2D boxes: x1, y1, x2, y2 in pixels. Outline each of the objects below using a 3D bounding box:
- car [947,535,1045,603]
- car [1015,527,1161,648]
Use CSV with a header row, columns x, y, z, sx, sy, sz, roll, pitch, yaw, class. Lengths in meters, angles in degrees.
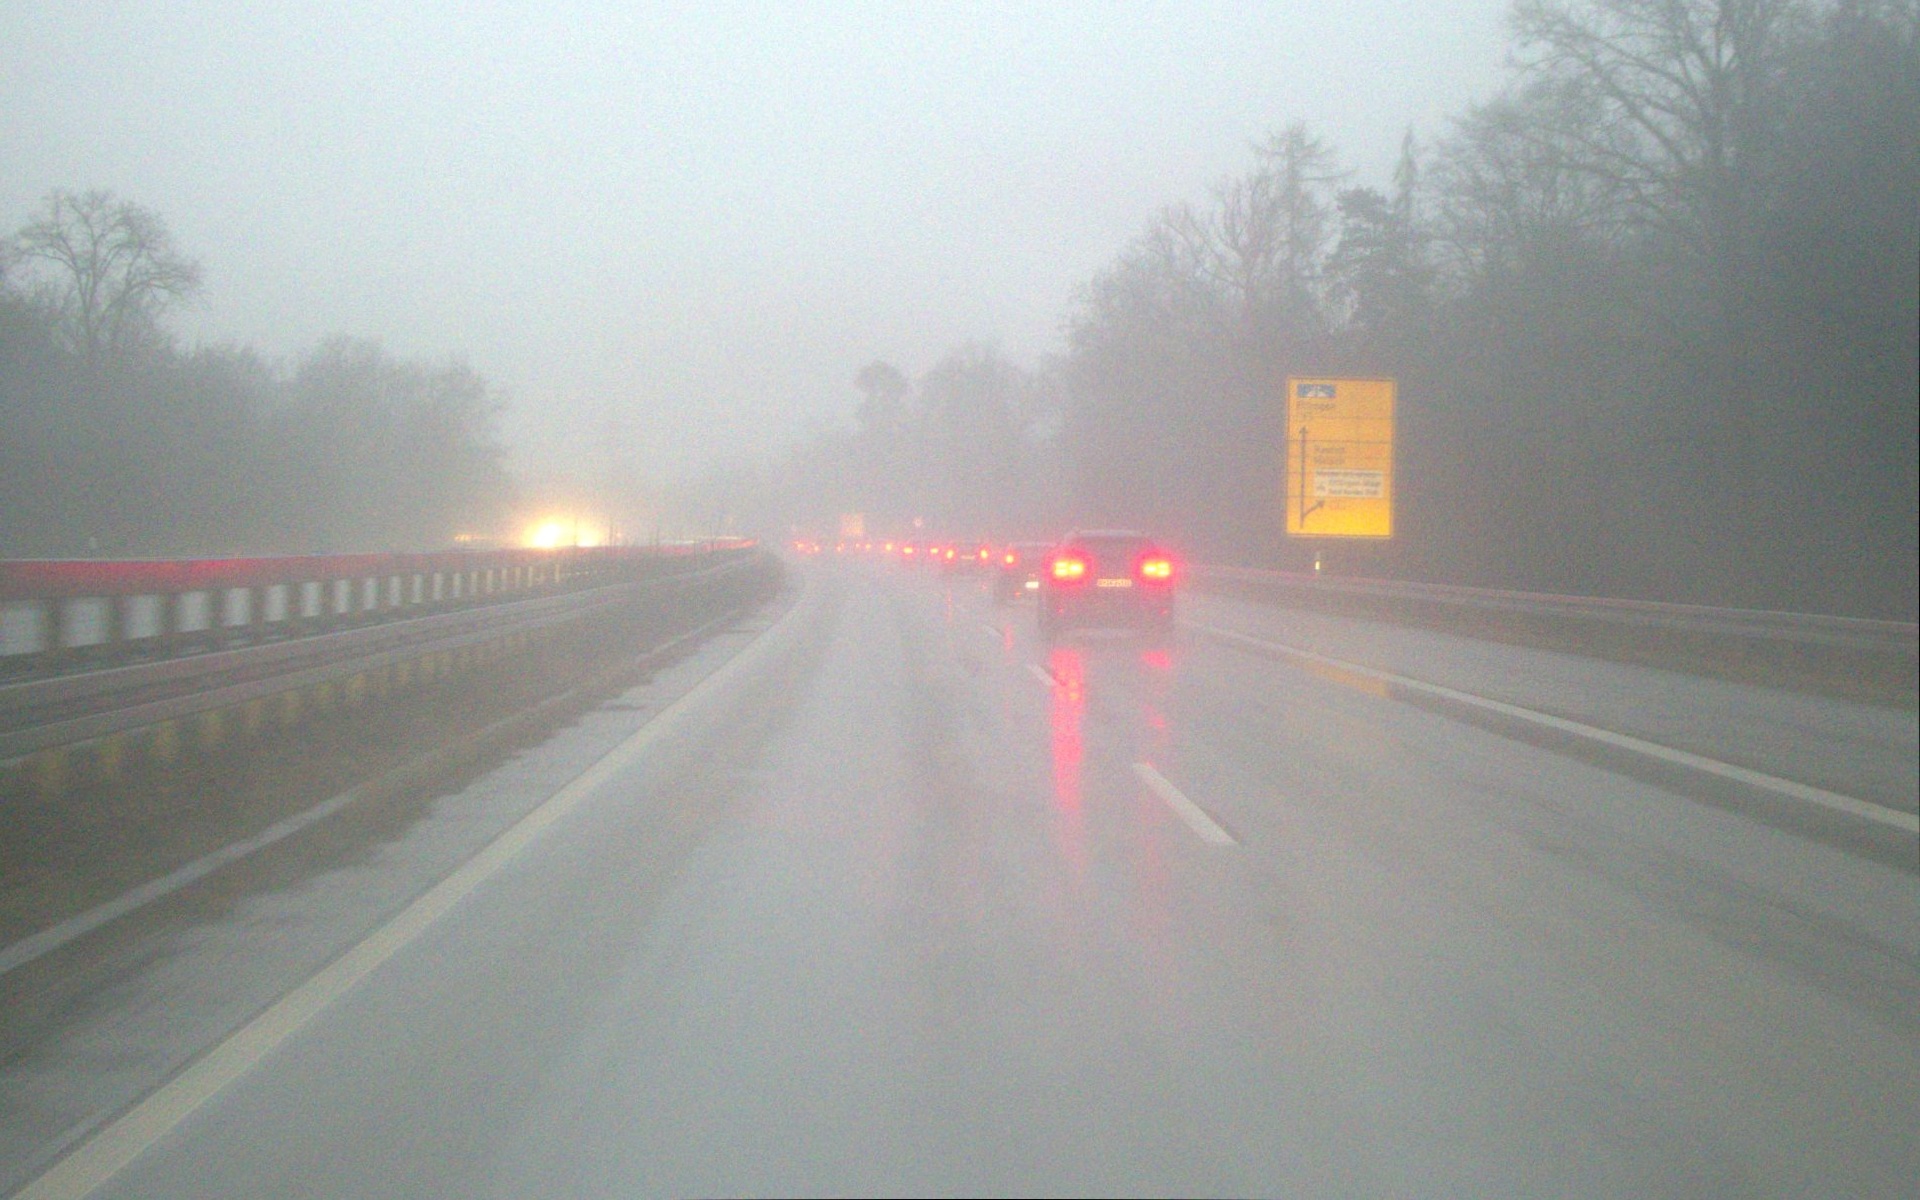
x,y,z,sx,sy,sz,roll,pitch,yaw,class
0.784,-0.691,77.559,1.993,1.415,4.000,2,0,-2,car
1.859,-0.202,50.974,1.992,1.709,3.830,1,1,0,car
